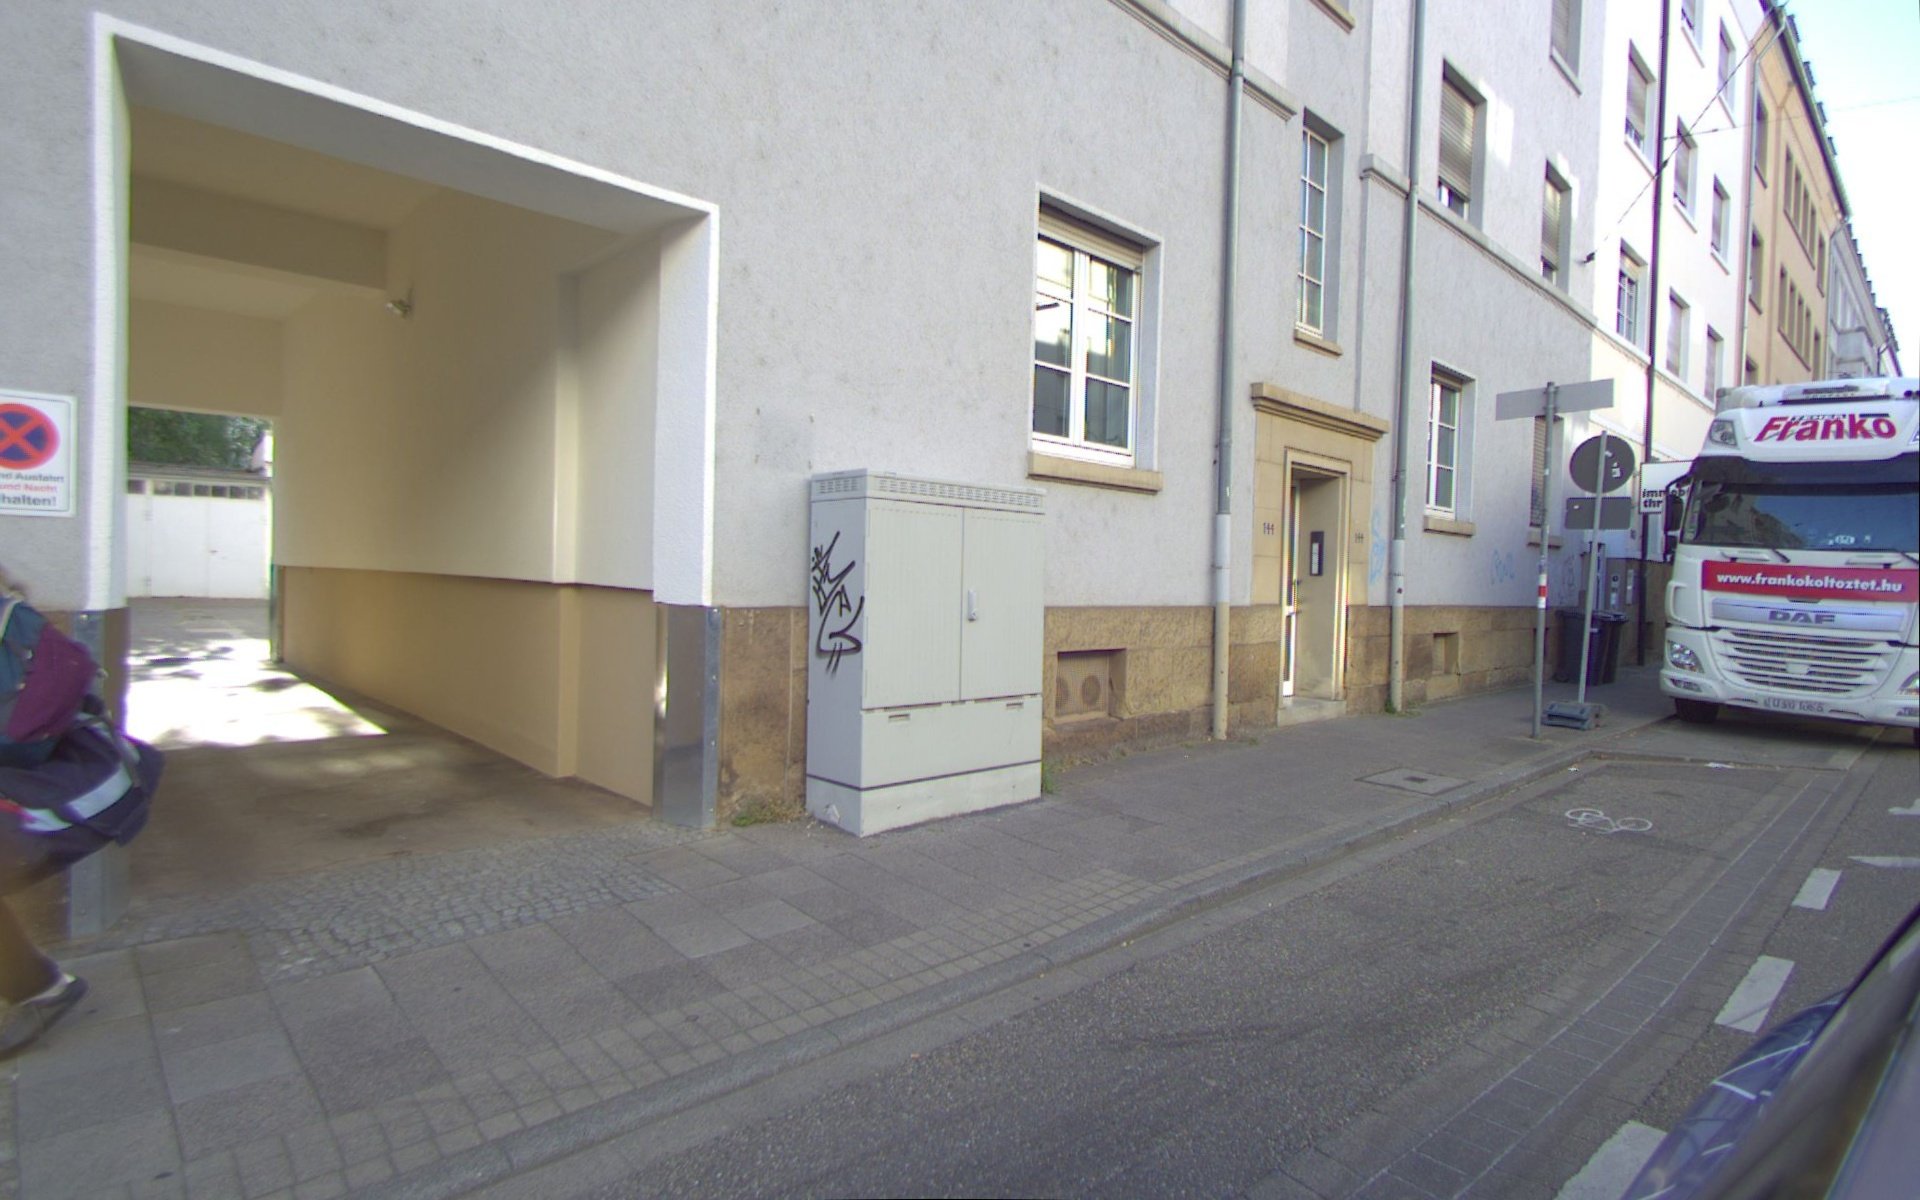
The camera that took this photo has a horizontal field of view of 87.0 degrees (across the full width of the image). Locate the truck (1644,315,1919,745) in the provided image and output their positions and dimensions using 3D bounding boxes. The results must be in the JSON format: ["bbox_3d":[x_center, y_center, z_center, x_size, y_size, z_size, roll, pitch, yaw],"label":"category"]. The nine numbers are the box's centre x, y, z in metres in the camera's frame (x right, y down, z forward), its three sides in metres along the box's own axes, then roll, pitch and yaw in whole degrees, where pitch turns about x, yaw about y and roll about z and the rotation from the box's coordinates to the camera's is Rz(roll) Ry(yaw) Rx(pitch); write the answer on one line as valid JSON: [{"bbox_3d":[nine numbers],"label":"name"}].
[{"bbox_3d":[12.582,-0.682,13.886,11.621,3.975,2.778,0,2,-44],"label":"truck"}]

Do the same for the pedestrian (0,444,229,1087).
[{"bbox_3d":[-2.639,0.385,2.811,0.854,1.590,0.875,1,3,-43],"label":"pedestrian"}]

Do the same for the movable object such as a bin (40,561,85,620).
[{"bbox_3d":[-14.370,-0.156,16.205,0.518,0.922,0.580,0,2,-43],"label":"movable object such as a bin"}]

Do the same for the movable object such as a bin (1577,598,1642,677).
[{"bbox_3d":[9.657,0.539,15.044,0.560,1.107,0.665,0,2,-43],"label":"movable object such as a bin"}]

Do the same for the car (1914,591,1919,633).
[{"bbox_3d":[37.682,0.460,38.635,4.080,1.551,1.681,0,0,-44],"label":"car"}]

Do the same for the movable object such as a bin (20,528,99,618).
[{"bbox_3d":[-15.147,-0.463,17.023,0.946,1.426,1.597,0,2,-43],"label":"movable object such as a bin"}]

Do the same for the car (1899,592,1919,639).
[{"bbox_3d":[33.512,0.527,34.738,4.080,1.551,1.681,0,0,-44],"label":"car"}]

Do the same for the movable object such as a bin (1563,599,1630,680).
[{"bbox_3d":[9.177,0.548,14.593,0.560,1.107,0.665,0,2,-43],"label":"movable object such as a bin"}]
